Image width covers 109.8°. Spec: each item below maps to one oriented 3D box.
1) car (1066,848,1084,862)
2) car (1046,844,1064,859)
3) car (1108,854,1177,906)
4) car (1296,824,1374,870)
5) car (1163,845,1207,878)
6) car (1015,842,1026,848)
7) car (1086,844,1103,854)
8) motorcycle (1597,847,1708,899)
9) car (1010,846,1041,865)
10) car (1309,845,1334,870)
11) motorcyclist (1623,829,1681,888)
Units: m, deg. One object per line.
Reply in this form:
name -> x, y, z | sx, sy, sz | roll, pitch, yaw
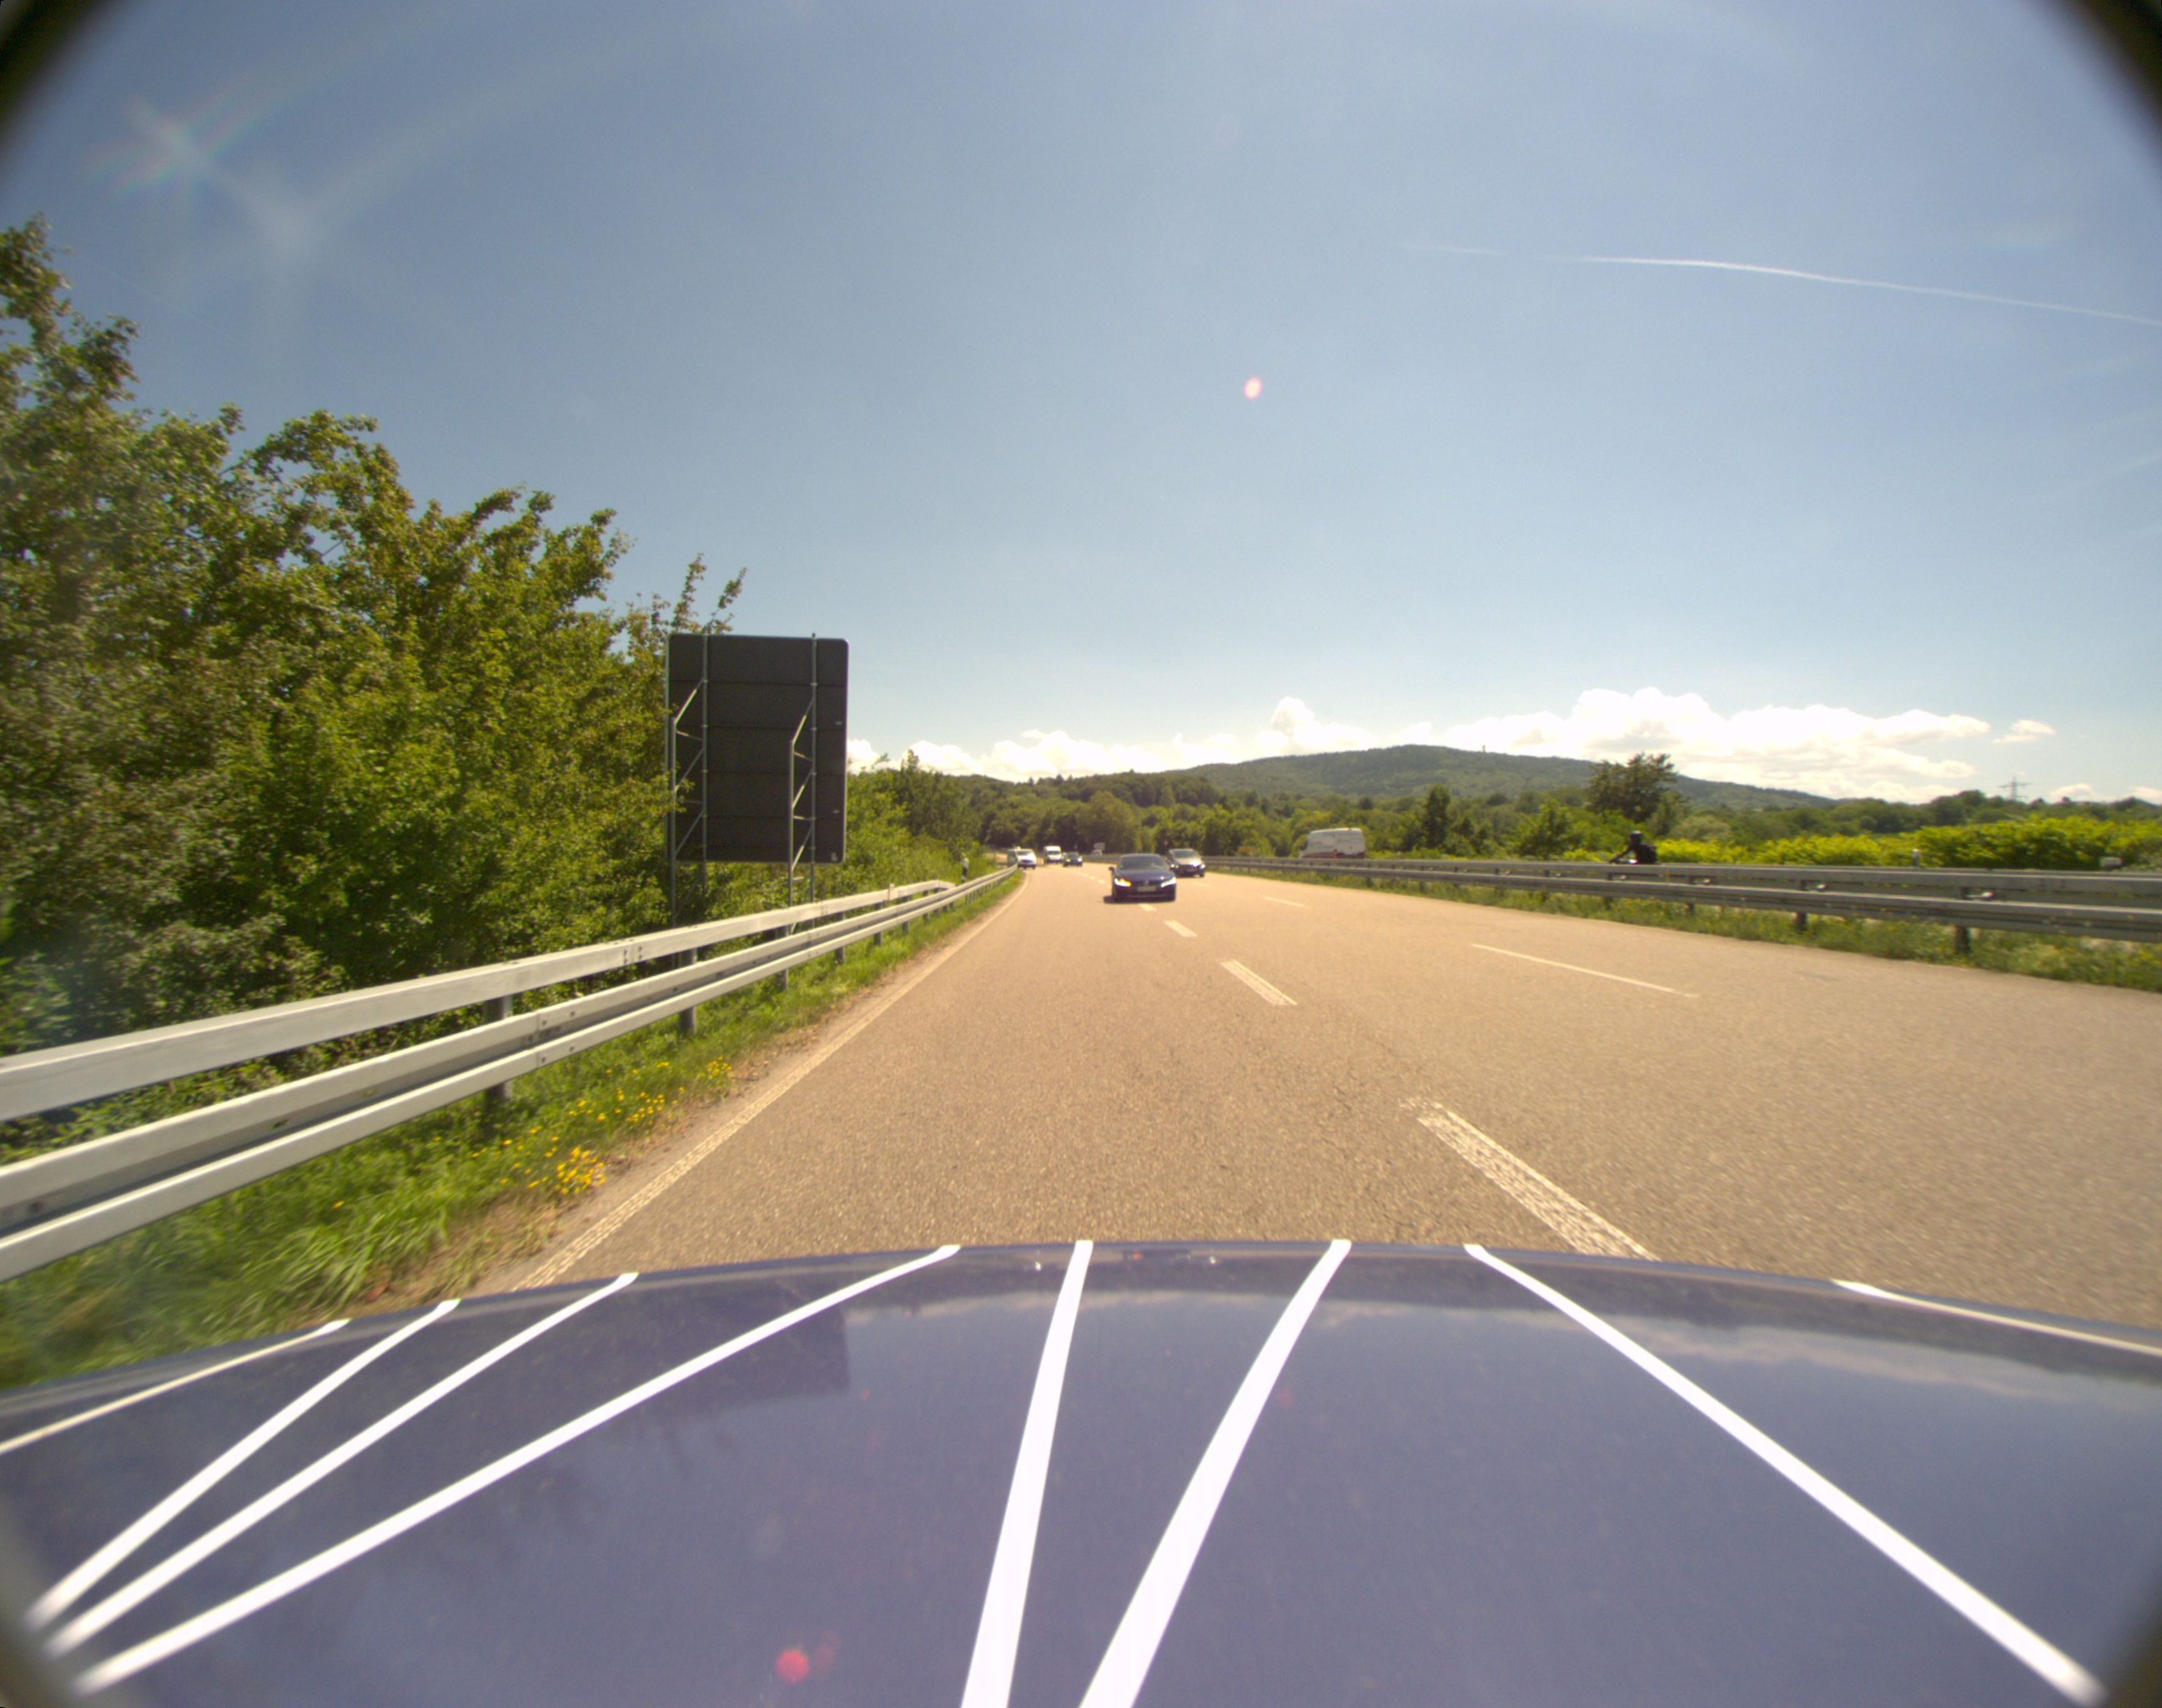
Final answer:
car -> -0.669, 0.108, 82.620 | 1.846, 1.400, 4.467 | -1, 1, -3
car -> -3.602, -0.431, 105.880 | 2.009, 1.988, 4.575 | -1, 2, -7
car -> 1.852, 0.745, 23.988 | 1.846, 1.399, 4.469 | -1, 0, 1
car -> 16.259, -0.547, 49.276 | 2.285, 2.758, 7.217 | 0, 2, -3
car -> 5.804, 0.385, 42.766 | 1.797, 1.658, 4.553 | -2, 1, 0
car -> -18.388, -2.774, 230.121 | 2.002, 1.882, 4.902 | -1, 2, -19
car -> 2.584, -0.963, 148.406 | 2.212, 1.882, 4.905 | -1, 2, -12
motorcycle -> 13.977, 0.419, 18.709 | 0.793, 1.137, 2.528 | 0, 2, 0
car -> -5.487, 0.133, 74.347 | 1.887, 1.724, 4.461 | -1, 2, -20
car -> 28.068, 0.355, 88.543 | 2.205, 2.623, 5.633 | 1, 2, 23
motorcyclist -> 13.966, 0.096, 18.609 | 0.793, 1.426, 0.767 | 0, 2, -1
